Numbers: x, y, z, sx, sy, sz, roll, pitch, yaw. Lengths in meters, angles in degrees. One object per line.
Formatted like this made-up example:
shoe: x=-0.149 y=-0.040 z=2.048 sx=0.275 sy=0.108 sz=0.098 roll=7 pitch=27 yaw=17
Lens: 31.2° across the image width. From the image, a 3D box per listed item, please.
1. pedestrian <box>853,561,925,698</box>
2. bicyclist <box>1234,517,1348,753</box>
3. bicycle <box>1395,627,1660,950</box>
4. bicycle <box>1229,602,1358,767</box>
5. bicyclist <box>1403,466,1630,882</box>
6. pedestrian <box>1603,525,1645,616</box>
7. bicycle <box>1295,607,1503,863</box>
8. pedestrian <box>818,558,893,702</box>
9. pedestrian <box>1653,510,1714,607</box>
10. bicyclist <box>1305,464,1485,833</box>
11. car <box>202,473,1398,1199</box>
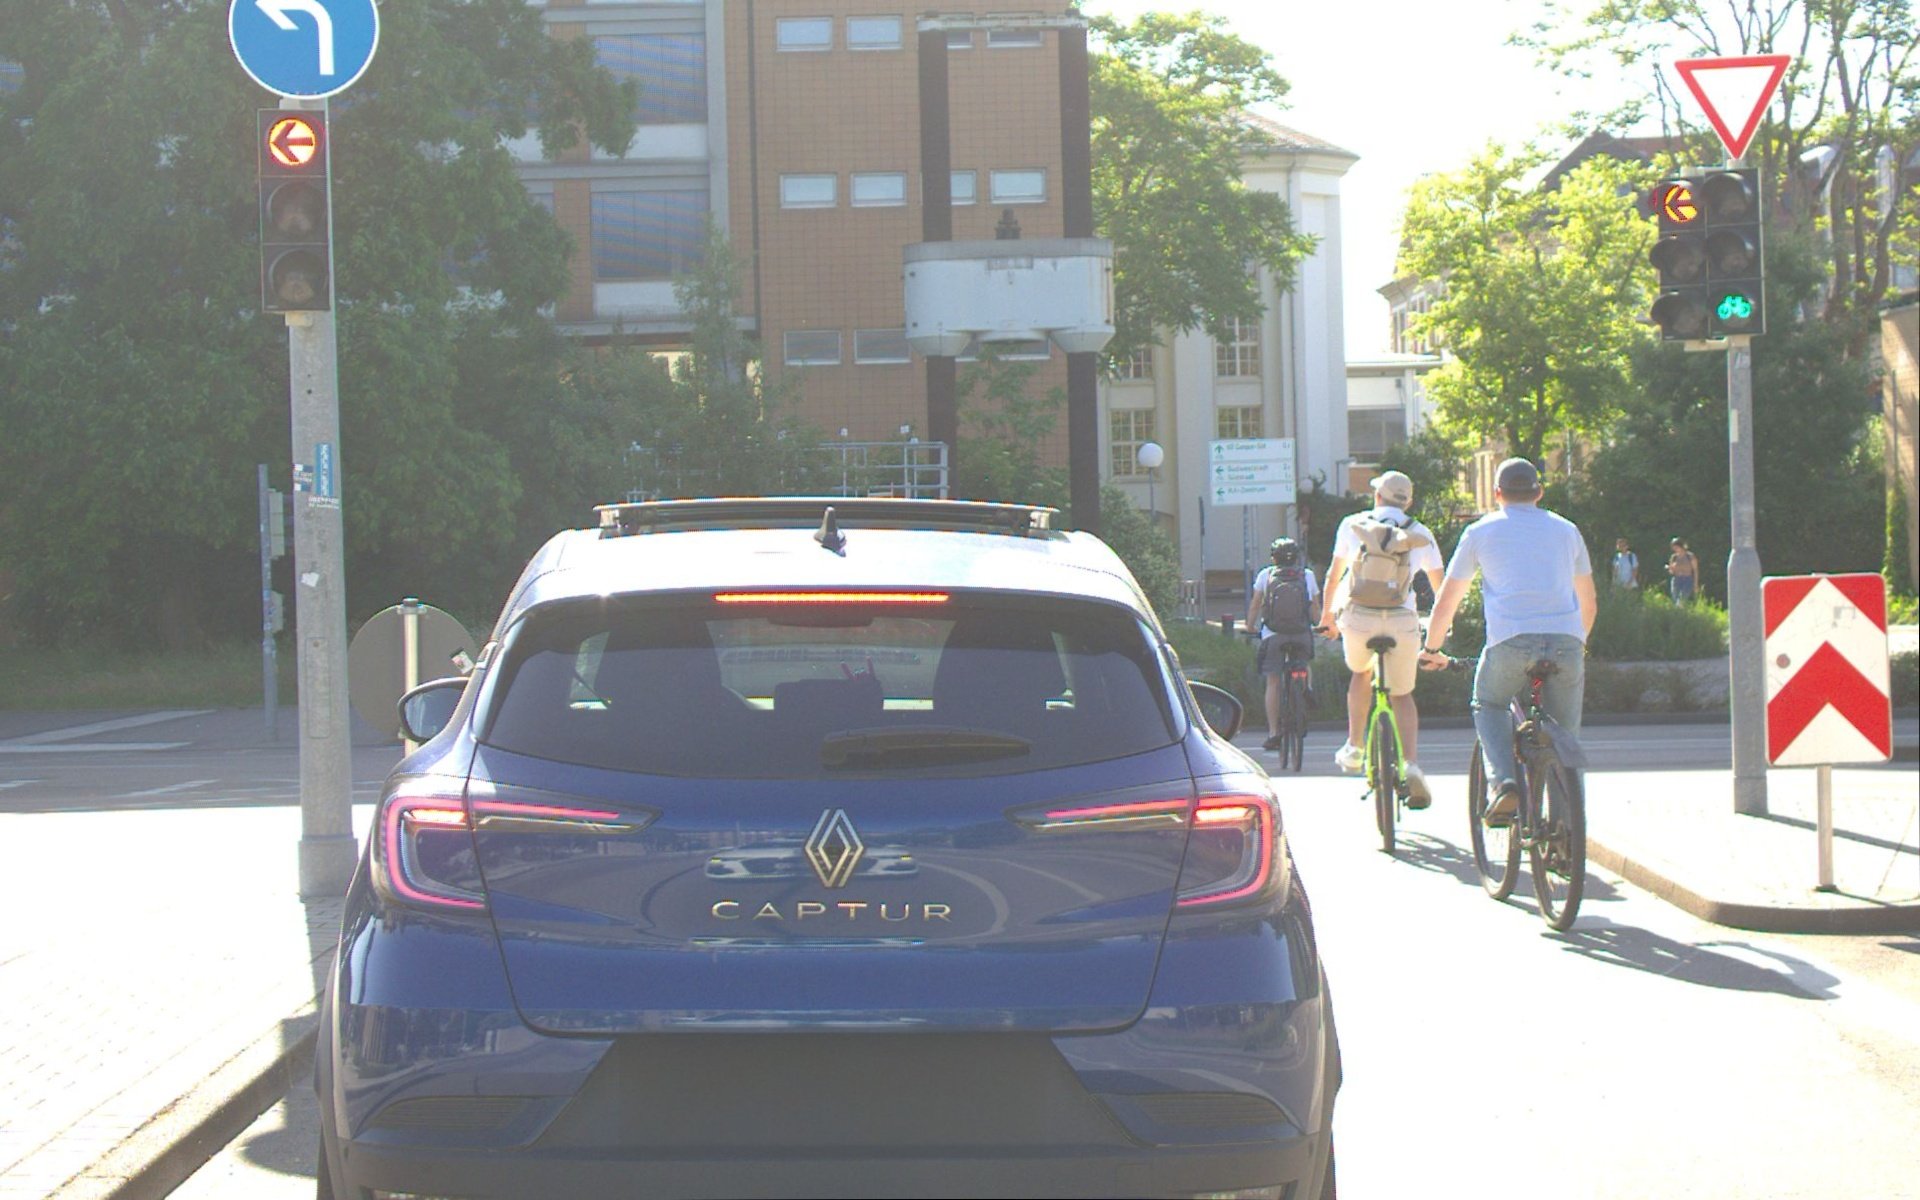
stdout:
pedestrian: x=-0.931 y=0.381 z=45.100 sx=0.734 sy=1.776 sz=0.731 roll=1 pitch=0 yaw=17
bicyclist: x=2.492 y=0.253 z=25.948 sx=0.719 sy=1.729 sz=0.978 roll=-1 pitch=1 yaw=-1
bicycle: x=2.250 y=0.714 z=13.834 sx=0.716 sy=1.161 sz=1.870 roll=-1 pitch=1 yaw=-1
bicycle: x=2.499 y=0.617 z=25.914 sx=0.746 sy=1.161 sz=1.870 roll=-1 pitch=1 yaw=-1
bicyclist: x=2.238 y=0.283 z=13.924 sx=0.719 sy=1.611 sz=0.978 roll=-1 pitch=1 yaw=-1
pedestrian: x=12.085 y=-0.534 z=62.594 sx=0.676 sy=1.637 sz=0.735 roll=1 pitch=0 yaw=15
bicycle: x=2.151 y=0.635 z=17.068 sx=0.746 sy=1.161 sz=1.870 roll=-1 pitch=1 yaw=-1
pedestrian: x=-1.339 y=0.378 z=44.132 sx=0.734 sy=1.810 sz=0.731 roll=1 pitch=0 yaw=17
pedestrian: x=12.339 y=-0.706 z=58.649 sx=0.734 sy=1.637 sz=0.677 roll=0 pitch=1 yaw=-39
bicyclist: x=2.142 y=0.228 z=17.034 sx=0.719 sy=1.756 sz=0.978 roll=-1 pitch=1 yaw=-1
car: x=-0.279 y=0.596 z=7.350 sx=1.876 sy=1.612 sz=3.798 roll=1 pitch=1 yaw=-1
